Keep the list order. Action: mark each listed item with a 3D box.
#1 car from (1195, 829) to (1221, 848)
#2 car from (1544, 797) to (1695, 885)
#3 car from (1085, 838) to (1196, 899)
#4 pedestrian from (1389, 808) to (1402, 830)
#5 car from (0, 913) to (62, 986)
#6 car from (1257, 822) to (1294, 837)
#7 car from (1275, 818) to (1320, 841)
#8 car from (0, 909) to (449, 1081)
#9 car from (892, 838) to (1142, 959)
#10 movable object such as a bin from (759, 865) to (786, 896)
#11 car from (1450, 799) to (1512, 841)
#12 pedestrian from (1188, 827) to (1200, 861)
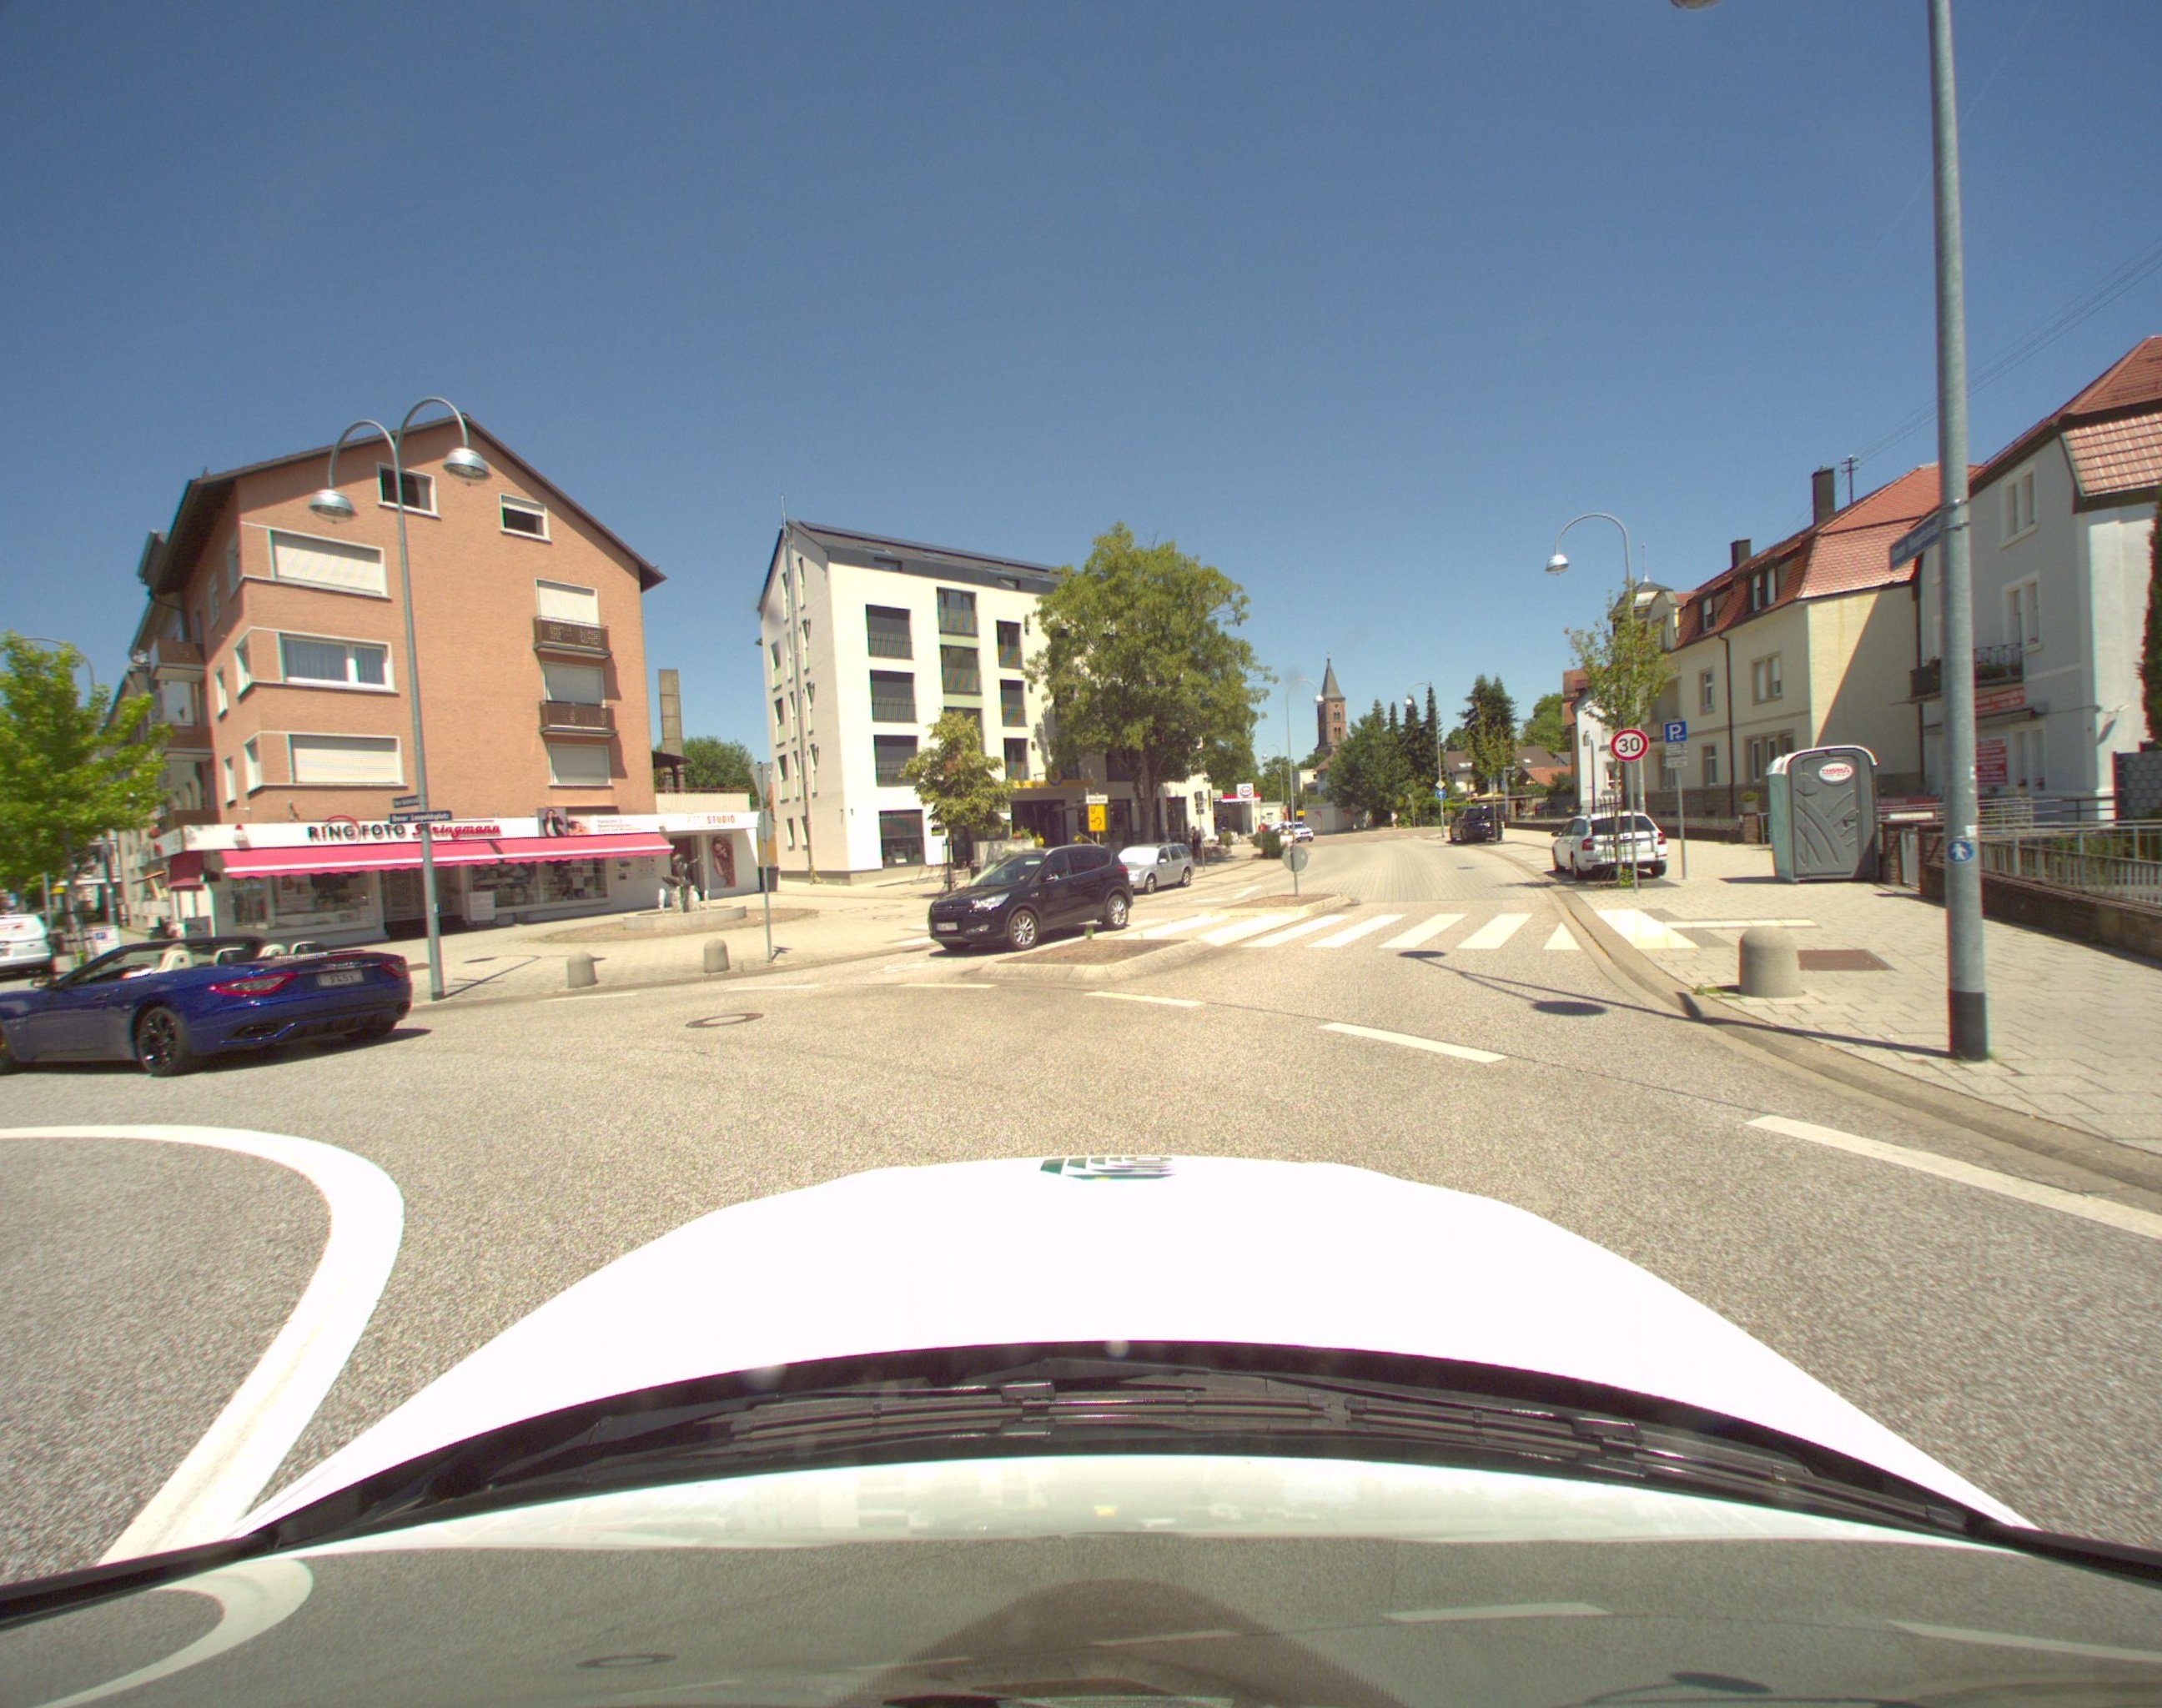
[{"bbox_3d":[11.805,-1.476,76.005,1.824,1.573,4.003,-4,1,2],"label":"car"},{"bbox_3d":[12.325,-0.349,18.967,1.976,1.584,4.311,-8,-1,23],"label":"car"},{"bbox_3d":[1.976,0.394,25.850,1.778,1.589,4.027,-1,3,33],"label":"car"},{"bbox_3d":[26.707,-2.984,69.105,0.844,1.813,0.547,-4,4,-15],"label":"pedestrian"},{"bbox_3d":[-29.360,2.616,21.791,3.860,1.723,1.764,-4,3,28],"label":"car"},{"bbox_3d":[24.056,-3.042,100.879,3.998,1.650,1.989,-4,4,-18],"label":"car"},{"bbox_3d":[16.818,-1.903,63.466,1.831,1.573,3.986,-5,2,-10],"label":"car"},{"bbox_3d":[-9.779,1.488,9.051,4.575,1.398,1.992,-4,0,17],"label":"car"},{"bbox_3d":[-0.985,0.712,15.032,1.974,1.688,4.557,-4,1,37],"label":"car"},{"bbox_3d":[-12.630,1.074,33.347,0.764,1.154,0.765,-6,4,-35],"label":"movable object such as a bin"},{"bbox_3d":[20.078,-1.773,41.036,1.979,1.864,4.306,-2,4,15],"label":"car"},{"bbox_3d":[5.506,-0.496,39.661,0.402,1.628,0.654,-2,4,15],"label":"pedestrian"}]
